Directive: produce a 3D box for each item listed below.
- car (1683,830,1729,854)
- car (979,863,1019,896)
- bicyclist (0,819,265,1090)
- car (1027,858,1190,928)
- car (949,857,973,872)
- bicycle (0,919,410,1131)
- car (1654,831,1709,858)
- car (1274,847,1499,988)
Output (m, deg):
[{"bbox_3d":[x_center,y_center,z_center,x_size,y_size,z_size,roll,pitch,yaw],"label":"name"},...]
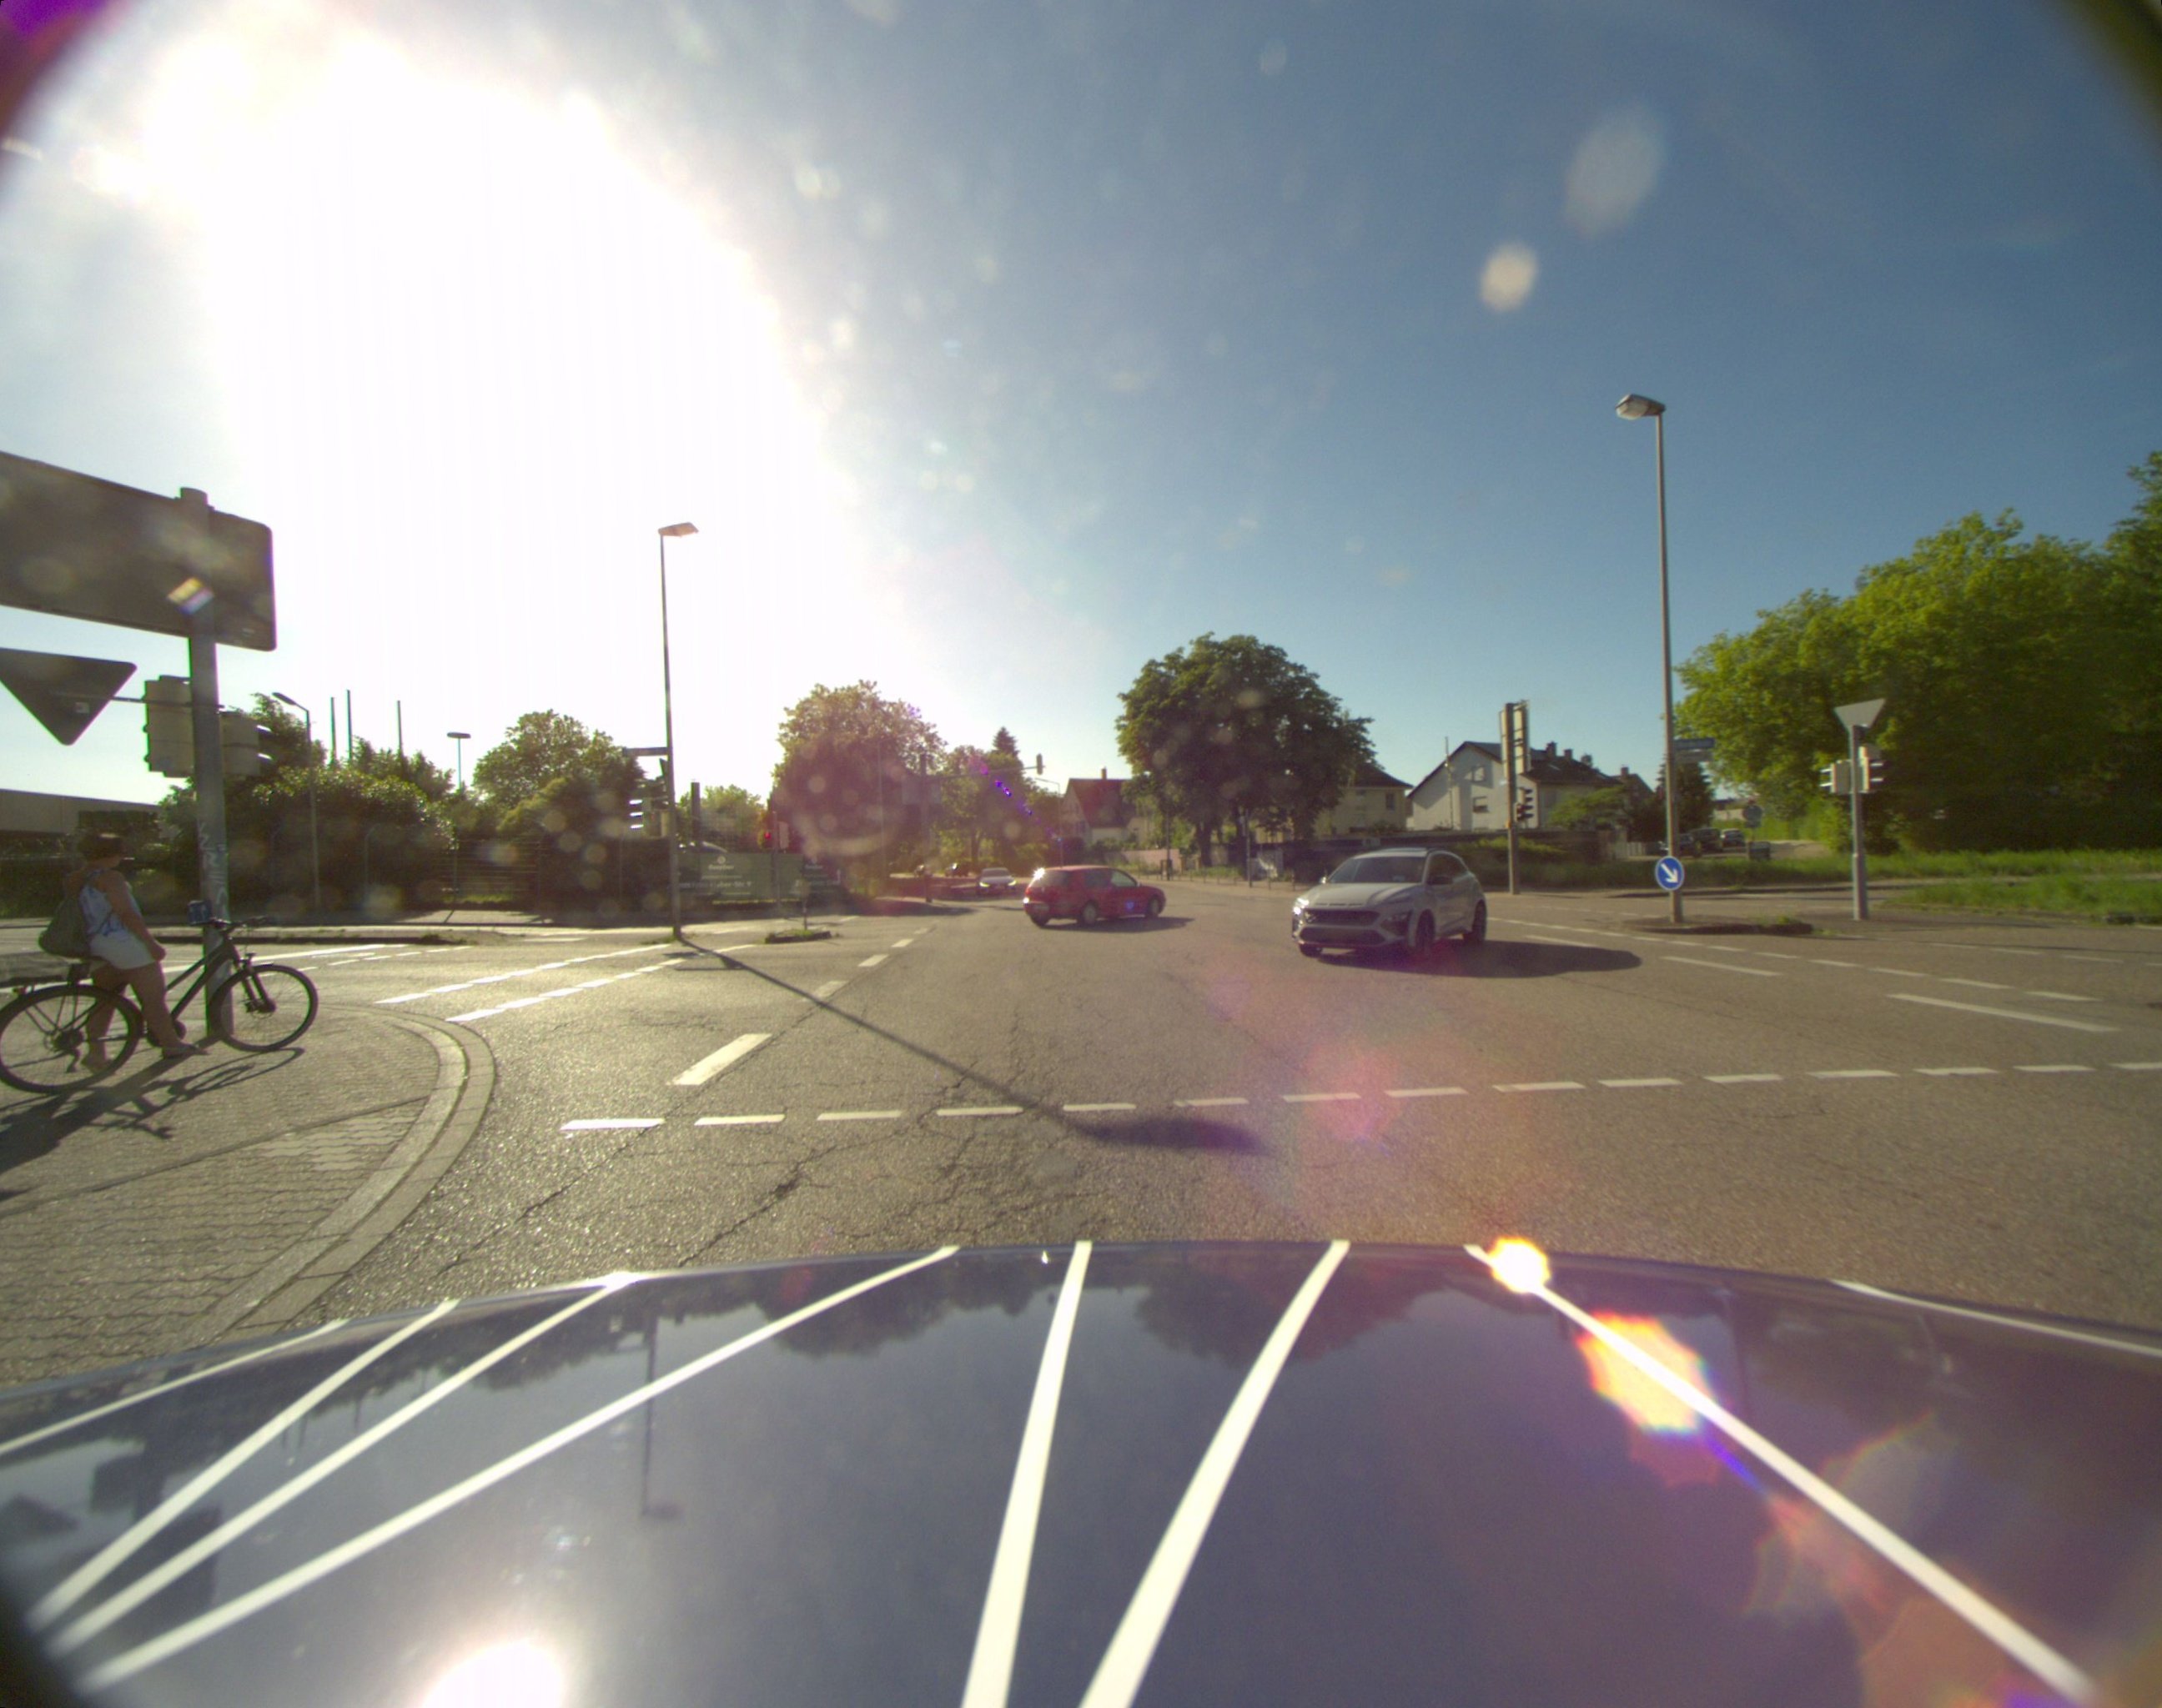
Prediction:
[{"bbox_3d":[46.392,-0.911,56.345,4.008,1.656,1.958,-2,0,-41],"label":"car"},{"bbox_3d":[-4.332,1.303,39.799,1.810,1.523,4.511,-2,0,-9],"label":"car"},{"bbox_3d":[-6.916,0.645,5.407,0.891,1.683,1.191,-2,0,15],"label":"bicyclist"},{"bbox_3d":[0.802,0.900,19.456,1.858,1.461,4.147,1,2,44],"label":"car"},{"bbox_3d":[-13.975,1.204,88.513,1.864,1.625,4.249,-1,-1,-21],"label":"car"},{"bbox_3d":[-6.868,1.157,5.517,0.901,1.119,2.957,-2,-1,15],"label":"bicycle"},{"bbox_3d":[38.160,-0.600,48.251,4.008,1.547,1.995,-2,-1,-41],"label":"car"},{"bbox_3d":[4.841,0.835,11.713,1.712,1.636,4.062,-3,0,45],"label":"car"}]
